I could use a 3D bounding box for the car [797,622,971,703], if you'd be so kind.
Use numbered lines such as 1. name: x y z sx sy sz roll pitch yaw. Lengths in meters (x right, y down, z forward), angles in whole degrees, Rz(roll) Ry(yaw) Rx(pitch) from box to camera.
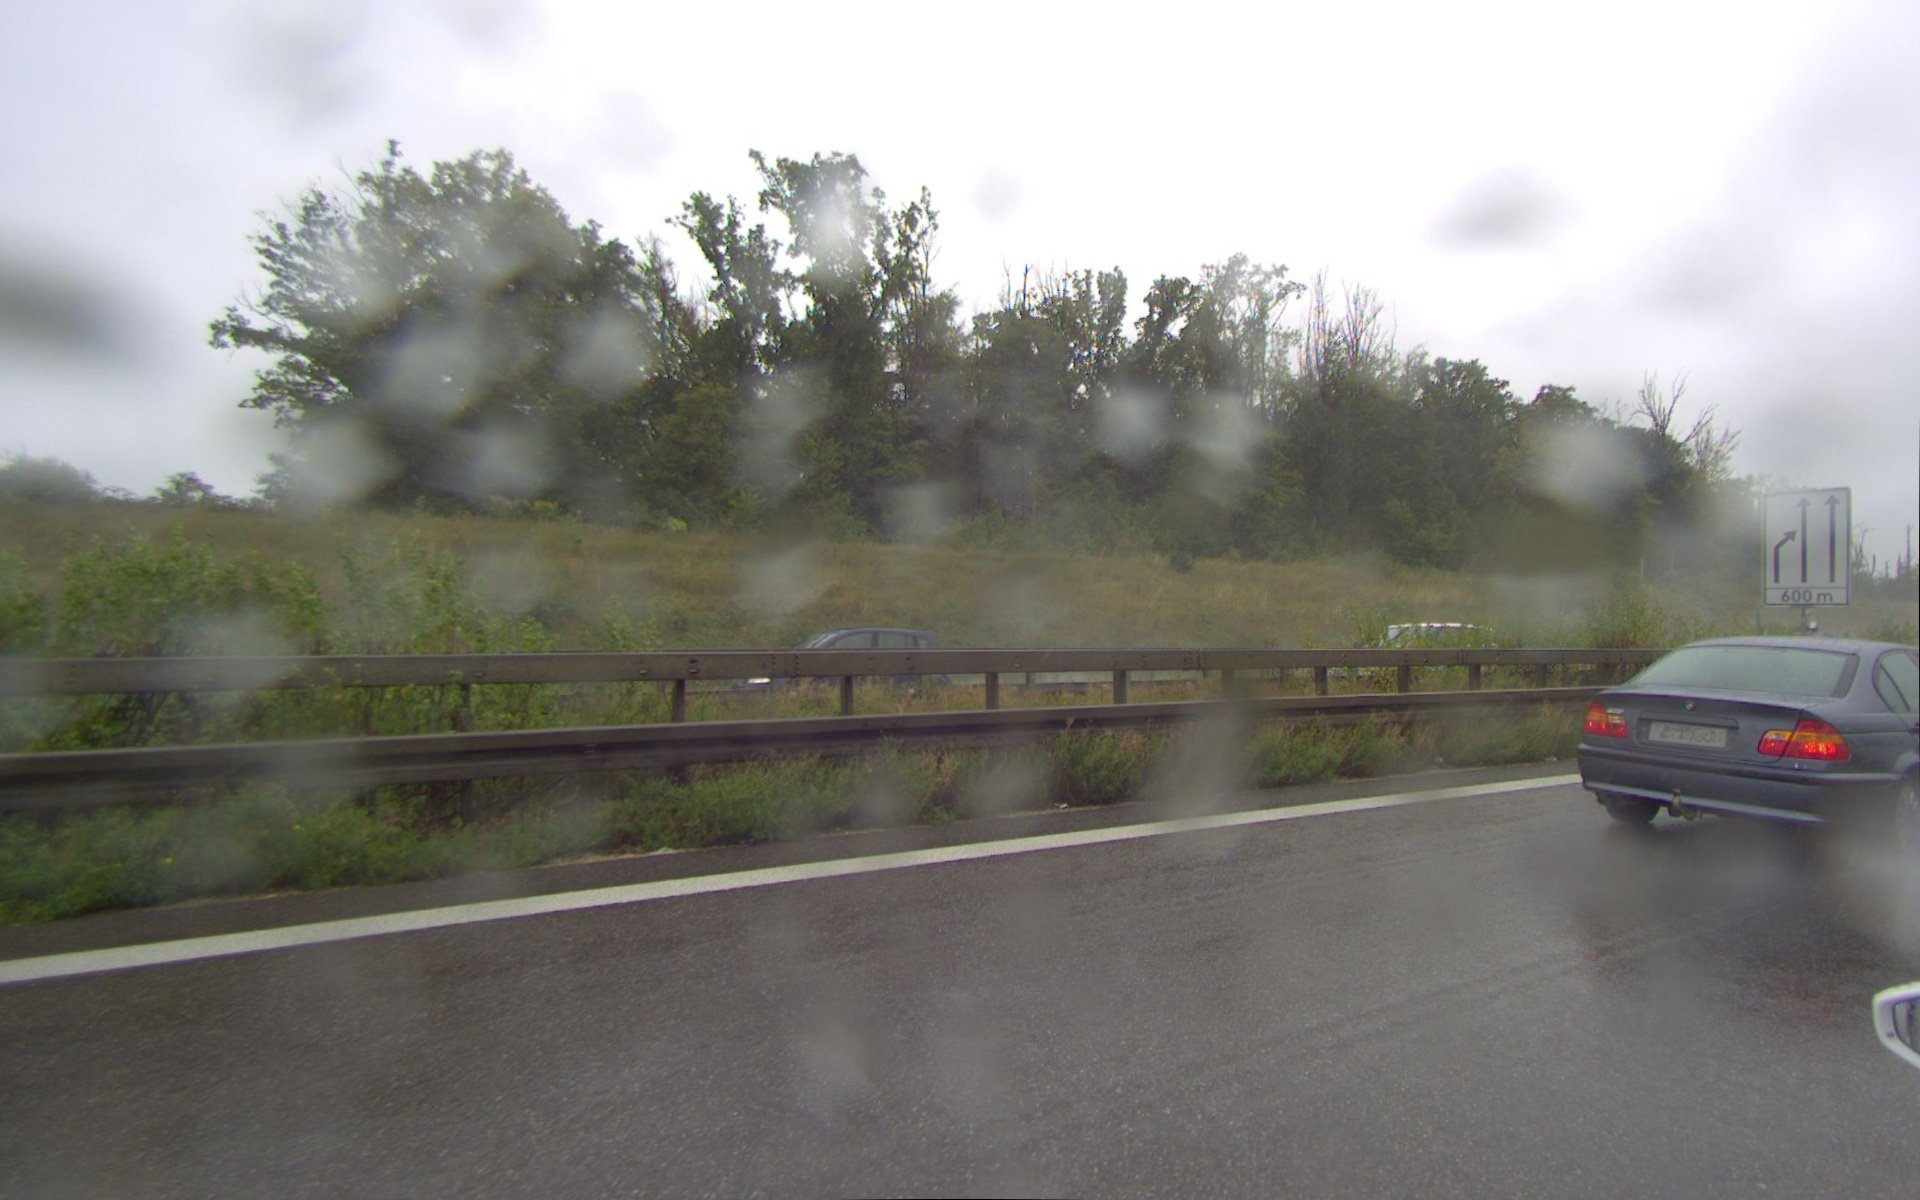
1. car: -1.358 1.108 18.079 2.862 1.332 1.244 2 -1 -31

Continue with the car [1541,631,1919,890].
1. car: 6.372 0.974 7.478 4.180 1.418 1.710 1 -1 -30
